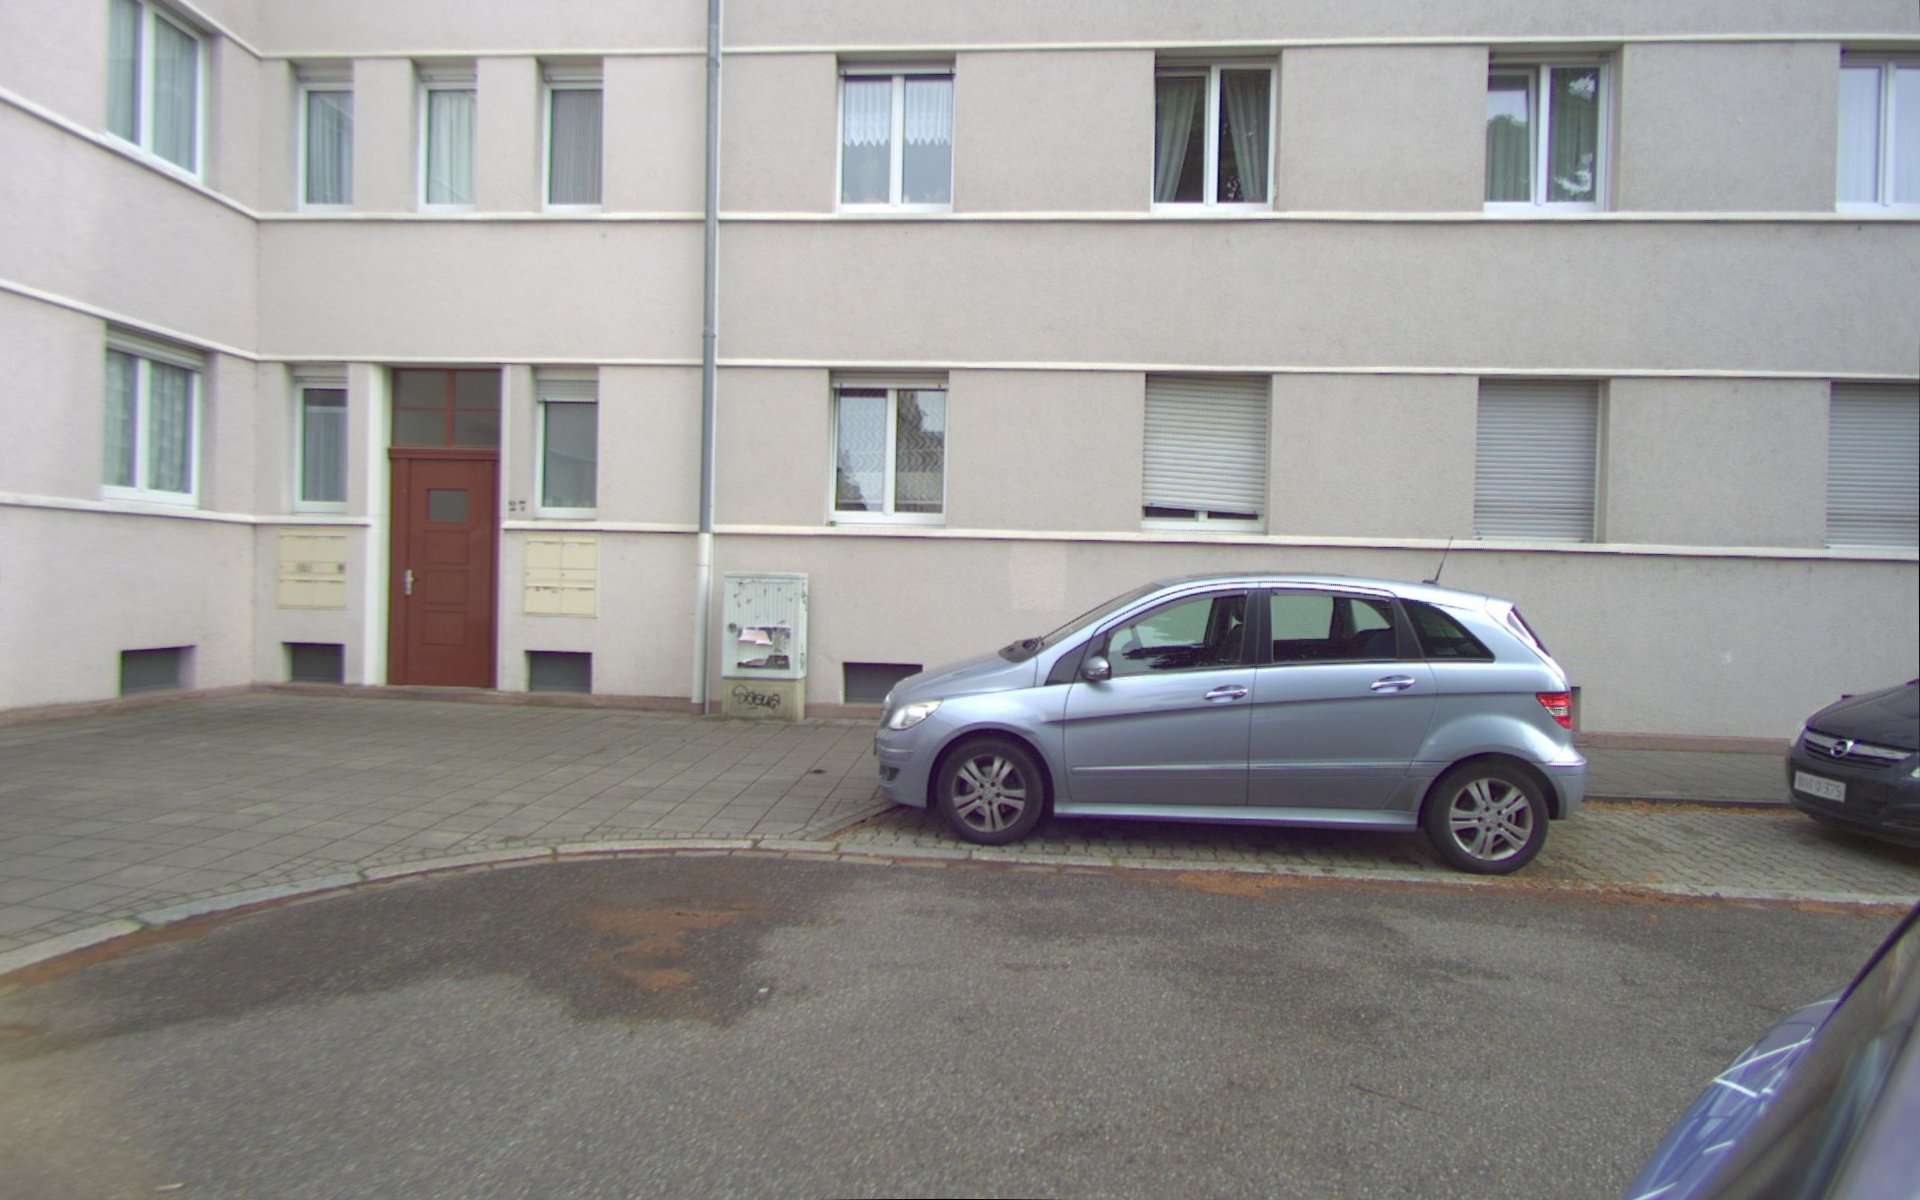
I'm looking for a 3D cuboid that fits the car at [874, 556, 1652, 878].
[{"bbox_3d":[1.660,0.590,6.435,4.128,1.648,1.759,1,1,7],"label":"car"}]

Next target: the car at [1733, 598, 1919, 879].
[{"bbox_3d":[7.185,0.778,5.906,3.867,1.508,1.760,1,1,5],"label":"car"}]
